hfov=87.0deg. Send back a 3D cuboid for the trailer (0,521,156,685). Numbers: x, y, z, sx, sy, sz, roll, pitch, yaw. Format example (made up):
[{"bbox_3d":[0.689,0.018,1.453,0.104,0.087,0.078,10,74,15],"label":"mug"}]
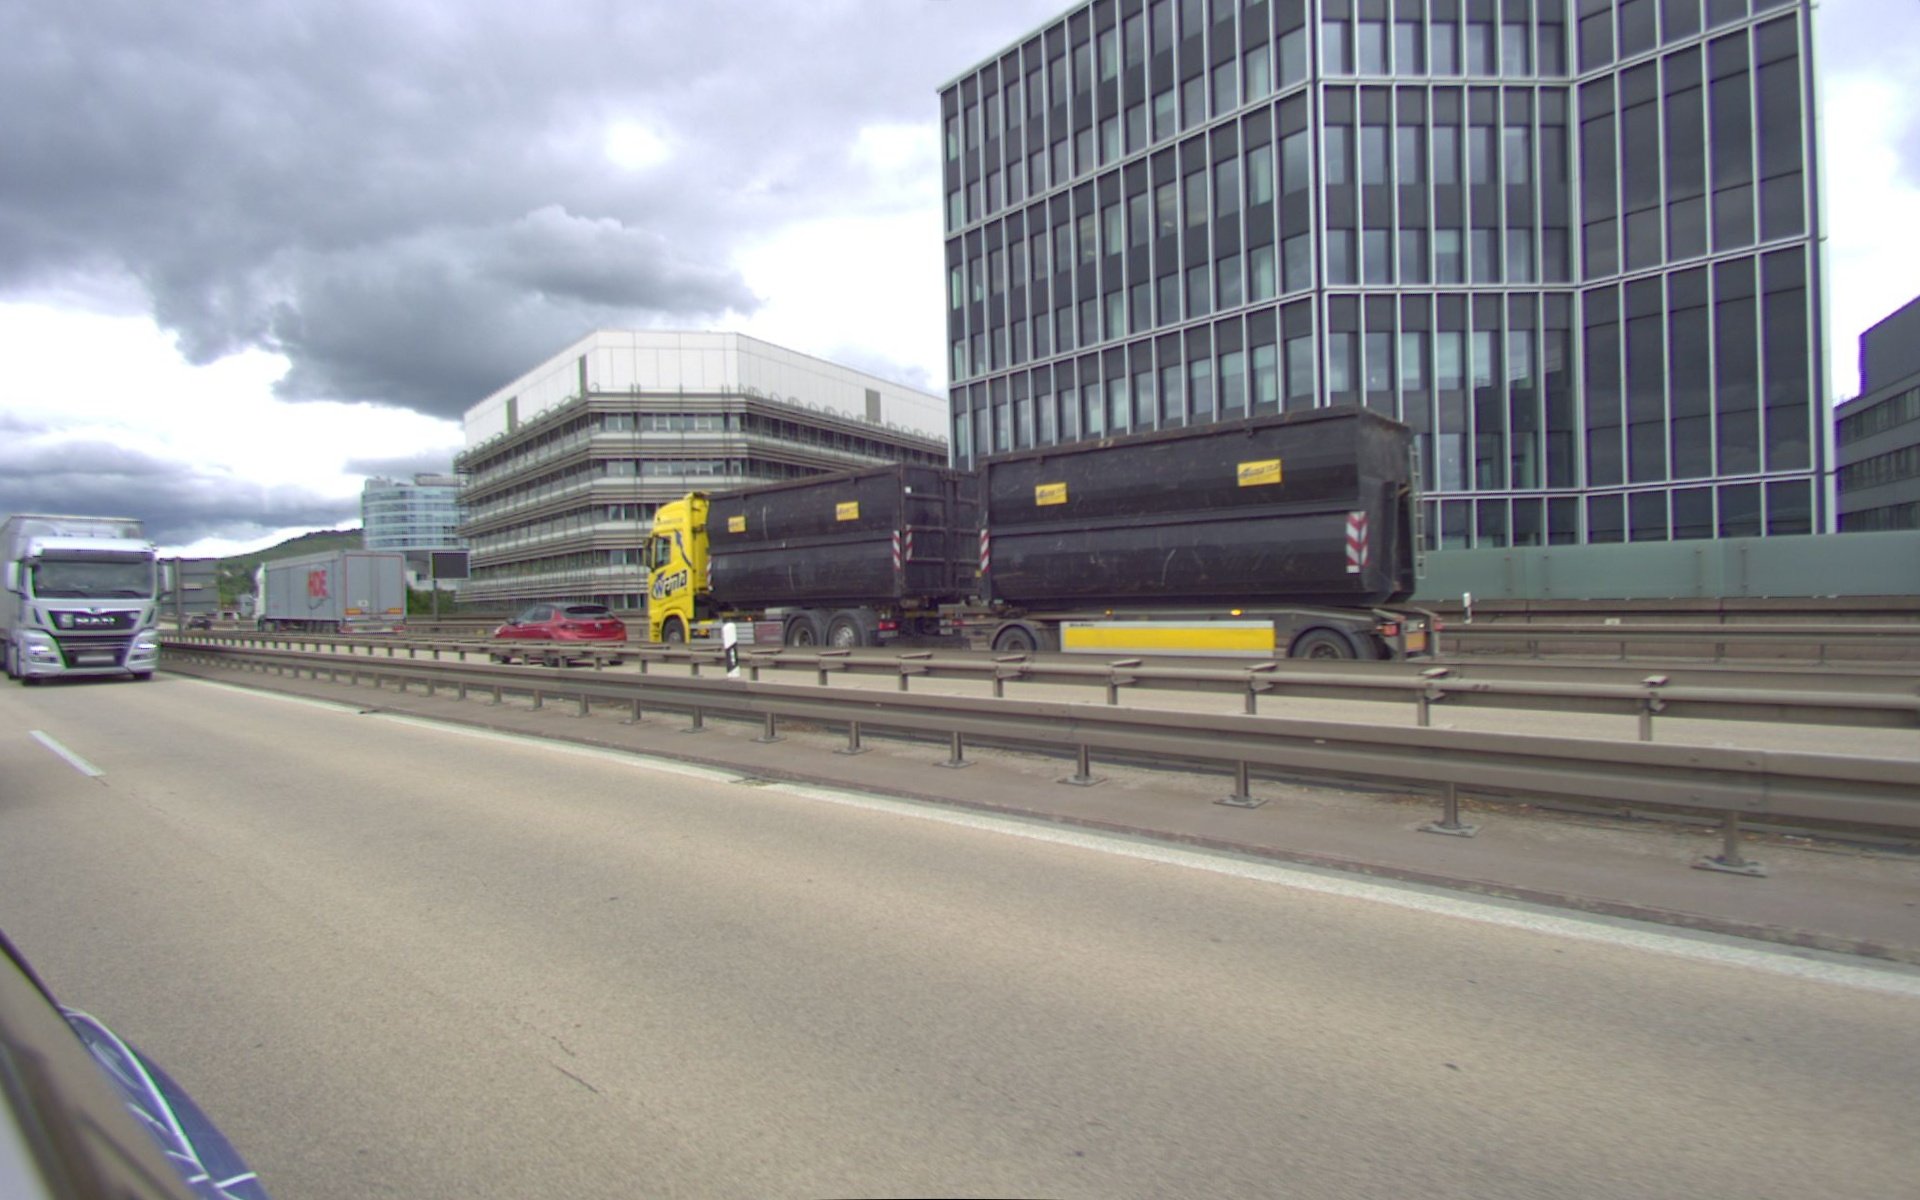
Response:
[{"bbox_3d":[-27.007,0.095,30.202,11.769,4.056,3.146,-1,1,44],"label":"trailer"}]

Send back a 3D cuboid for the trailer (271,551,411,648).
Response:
[{"bbox_3d":[-29.011,0.011,47.074,11.891,4.017,2.812,0,0,45],"label":"trailer"}]

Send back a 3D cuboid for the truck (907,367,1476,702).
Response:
[{"bbox_3d":[3.241,-0.762,16.462,8.663,4.096,3.024,-1,0,43],"label":"truck"}]

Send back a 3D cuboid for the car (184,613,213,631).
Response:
[{"bbox_3d":[-73.380,2.068,97.537,1.663,1.662,4.363,-2,1,-44],"label":"car"}]

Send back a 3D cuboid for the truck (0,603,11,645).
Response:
[{"bbox_3d":[-76.679,1.879,79.985,2.303,3.262,6.694,0,0,-42],"label":"truck"}]

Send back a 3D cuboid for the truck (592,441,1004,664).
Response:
[{"bbox_3d":[-4.420,-0.819,23.772,11.859,4.096,3.023,-1,0,44],"label":"truck"}]

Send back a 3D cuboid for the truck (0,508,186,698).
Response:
[{"bbox_3d":[-21.411,0.038,24.732,5.690,4.067,3.099,-1,1,44],"label":"truck"}]

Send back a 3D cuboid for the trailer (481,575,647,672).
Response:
[{"bbox_3d":[-9.118,0.525,23.163,3.999,2.029,1.972,-2,-1,42],"label":"trailer"}]

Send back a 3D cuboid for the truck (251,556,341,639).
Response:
[{"bbox_3d":[-34.588,-0.084,52.668,5.647,4.110,2.741,-1,-1,44],"label":"truck"}]
